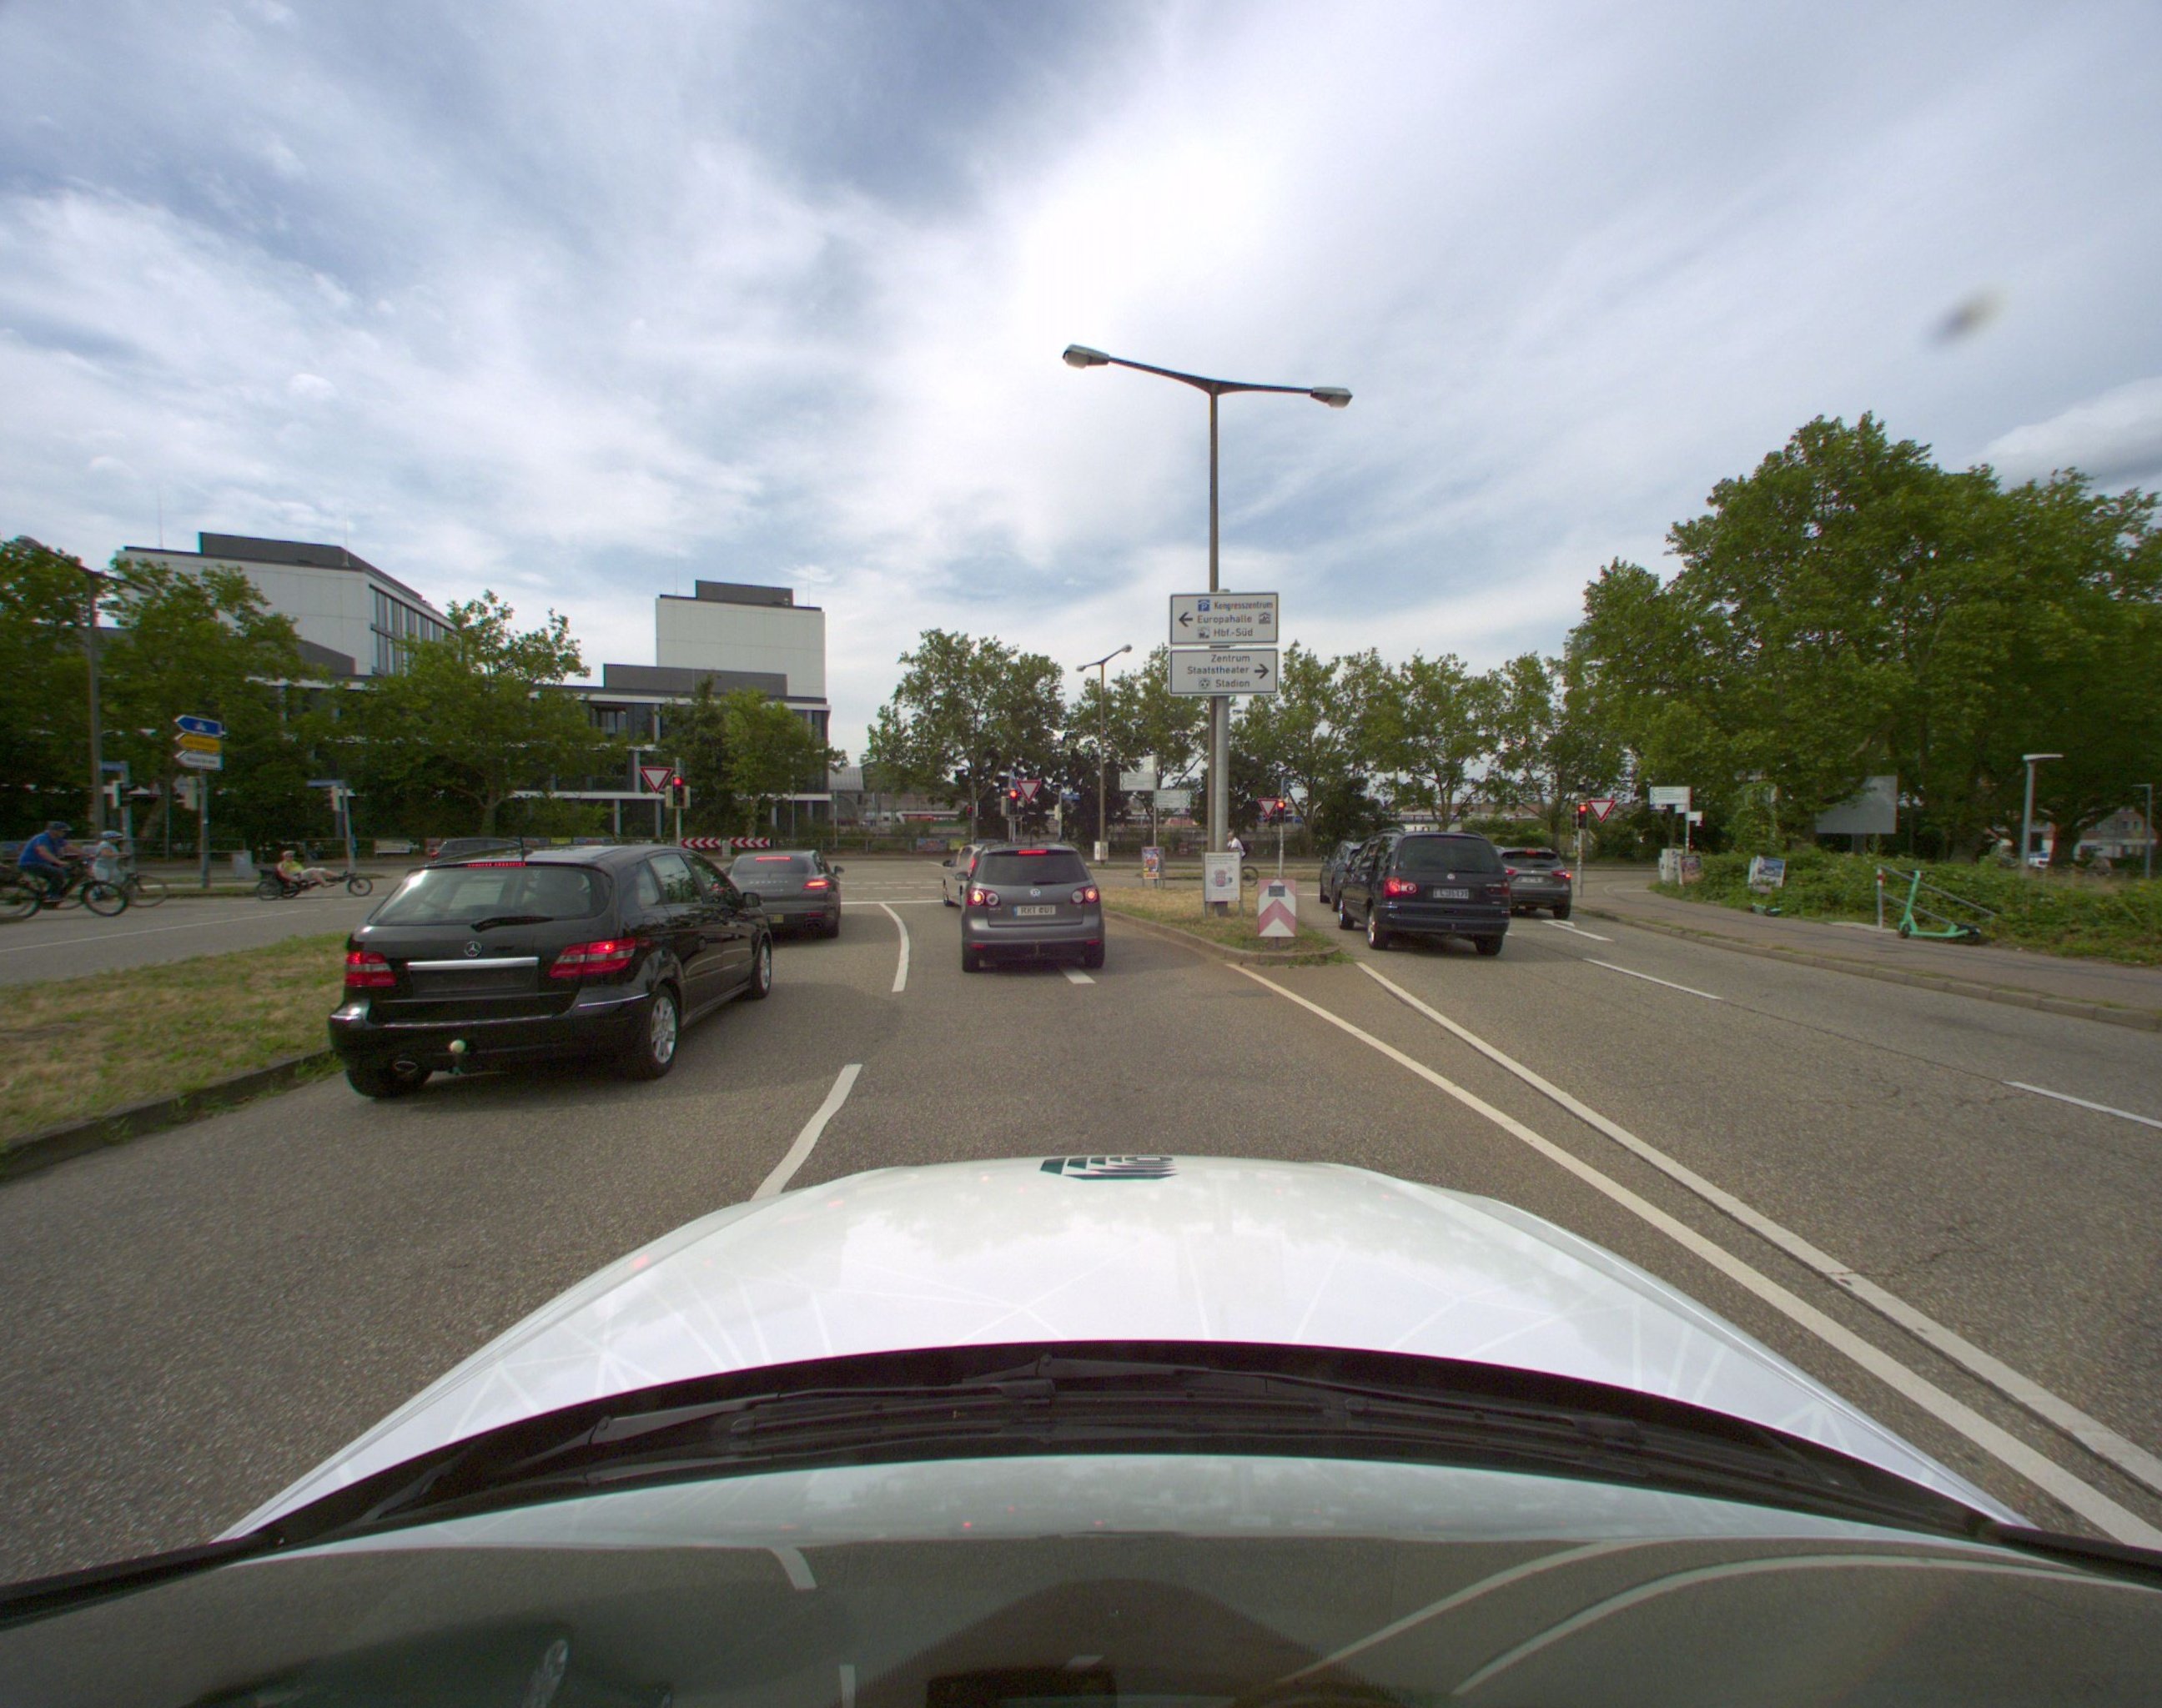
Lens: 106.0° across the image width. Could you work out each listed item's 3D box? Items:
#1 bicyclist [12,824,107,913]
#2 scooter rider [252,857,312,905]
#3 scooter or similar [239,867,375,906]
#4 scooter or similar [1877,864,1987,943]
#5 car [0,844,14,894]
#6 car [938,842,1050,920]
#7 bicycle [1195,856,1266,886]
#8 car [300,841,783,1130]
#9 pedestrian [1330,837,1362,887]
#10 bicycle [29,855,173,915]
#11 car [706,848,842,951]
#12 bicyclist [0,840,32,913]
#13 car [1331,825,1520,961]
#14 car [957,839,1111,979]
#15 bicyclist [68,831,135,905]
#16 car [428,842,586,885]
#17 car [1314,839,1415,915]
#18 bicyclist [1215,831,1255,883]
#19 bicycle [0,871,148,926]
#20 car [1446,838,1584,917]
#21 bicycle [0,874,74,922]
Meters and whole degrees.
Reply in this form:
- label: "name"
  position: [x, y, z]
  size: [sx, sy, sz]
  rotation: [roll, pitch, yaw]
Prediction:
- label: "bicyclist"
  position: [-19.820, 0.264, 15.830]
  size: [0.886, 1.656, 0.804]
  rotation: [-1, 1, -30]
- label: "scooter rider"
  position: [-20.043, 0.662, 20.446]
  size: [0.921, 1.137, 0.800]
  rotation: [-1, 2, -35]
- label: "scooter or similar"
  position: [-19.626, 0.804, 20.751]
  size: [2.396, 0.849, 0.800]
  rotation: [-1, 2, -35]
- label: "scooter or similar"
  position: [13.579, 0.760, 13.032]
  size: [0.395, 1.183, 1.280]
  rotation: [-1, 0, -1]
- label: "car"
  position: [-33.320, 0.478, 22.683]
  size: [4.070, 1.450, 1.692]
  rotation: [-1, 1, -20]
- label: "car"
  position: [-2.030, 0.504, 17.922]
  size: [1.745, 1.482, 4.059]
  rotation: [-1, 1, -16]
- label: "bicycle"
  position: [5.000, 0.563, 27.282]
  size: [2.228, 0.952, 0.809]
  rotation: [-1, 1, -11]
- label: "car"
  position: [-3.814, 0.712, 6.723]
  size: [1.756, 1.575, 4.025]
  rotation: [0, 2, -9]
- label: "pedestrian"
  position: [9.327, 0.269, 28.694]
  size: [1.039, 1.710, 0.857]
  rotation: [1, 1, 17]
- label: "bicycle"
  position: [-21.595, 0.663, 18.012]
  size: [1.916, 1.210, 0.636]
  rotation: [-1, 2, -38]
- label: "car"
  position: [-5.126, 0.634, 14.173]
  size: [1.822, 1.414, 4.751]
  rotation: [0, 1, -16]
- label: "bicyclist"
  position: [-21.955, 0.449, 16.198]
  size: [1.118, 1.436, 0.643]
  rotation: [-1, 2, -21]
- label: "car"
  position: [5.155, 0.492, 12.778]
  size: [1.740, 1.724, 4.148]
  rotation: [2, 0, 9]
- label: "car"
  position: [-0.817, 0.592, 11.267]
  size: [1.740, 1.546, 4.070]
  rotation: [-1, 1, -8]
- label: "bicyclist"
  position: [-21.605, 0.285, 17.988]
  size: [0.785, 1.581, 0.647]
  rotation: [-1, 2, -37]
- label: "car"
  position: [-19.304, 0.284, 27.614]
  size: [4.075, 1.368, 1.690]
  rotation: [-1, 1, -24]
- label: "car"
  position: [6.682, 0.482, 19.564]
  size: [1.680, 1.585, 4.169]
  rotation: [2, 0, 11]
- label: "bicyclist"
  position: [5.158, 0.087, 27.306]
  size: [1.112, 1.696, 0.810]
  rotation: [-1, 1, -10]
- label: "bicycle"
  position: [-19.904, 0.849, 15.778]
  size: [2.242, 0.952, 0.804]
  rotation: [-1, 1, -30]
- label: "car"
  position: [10.268, 0.499, 19.613]
  size: [1.739, 1.643, 4.150]
  rotation: [2, 0, 10]
- label: "bicycle"
  position: [-22.068, 0.895, 16.150]
  size: [2.593, 0.890, 0.700]
  rotation: [-1, 1, -21]
